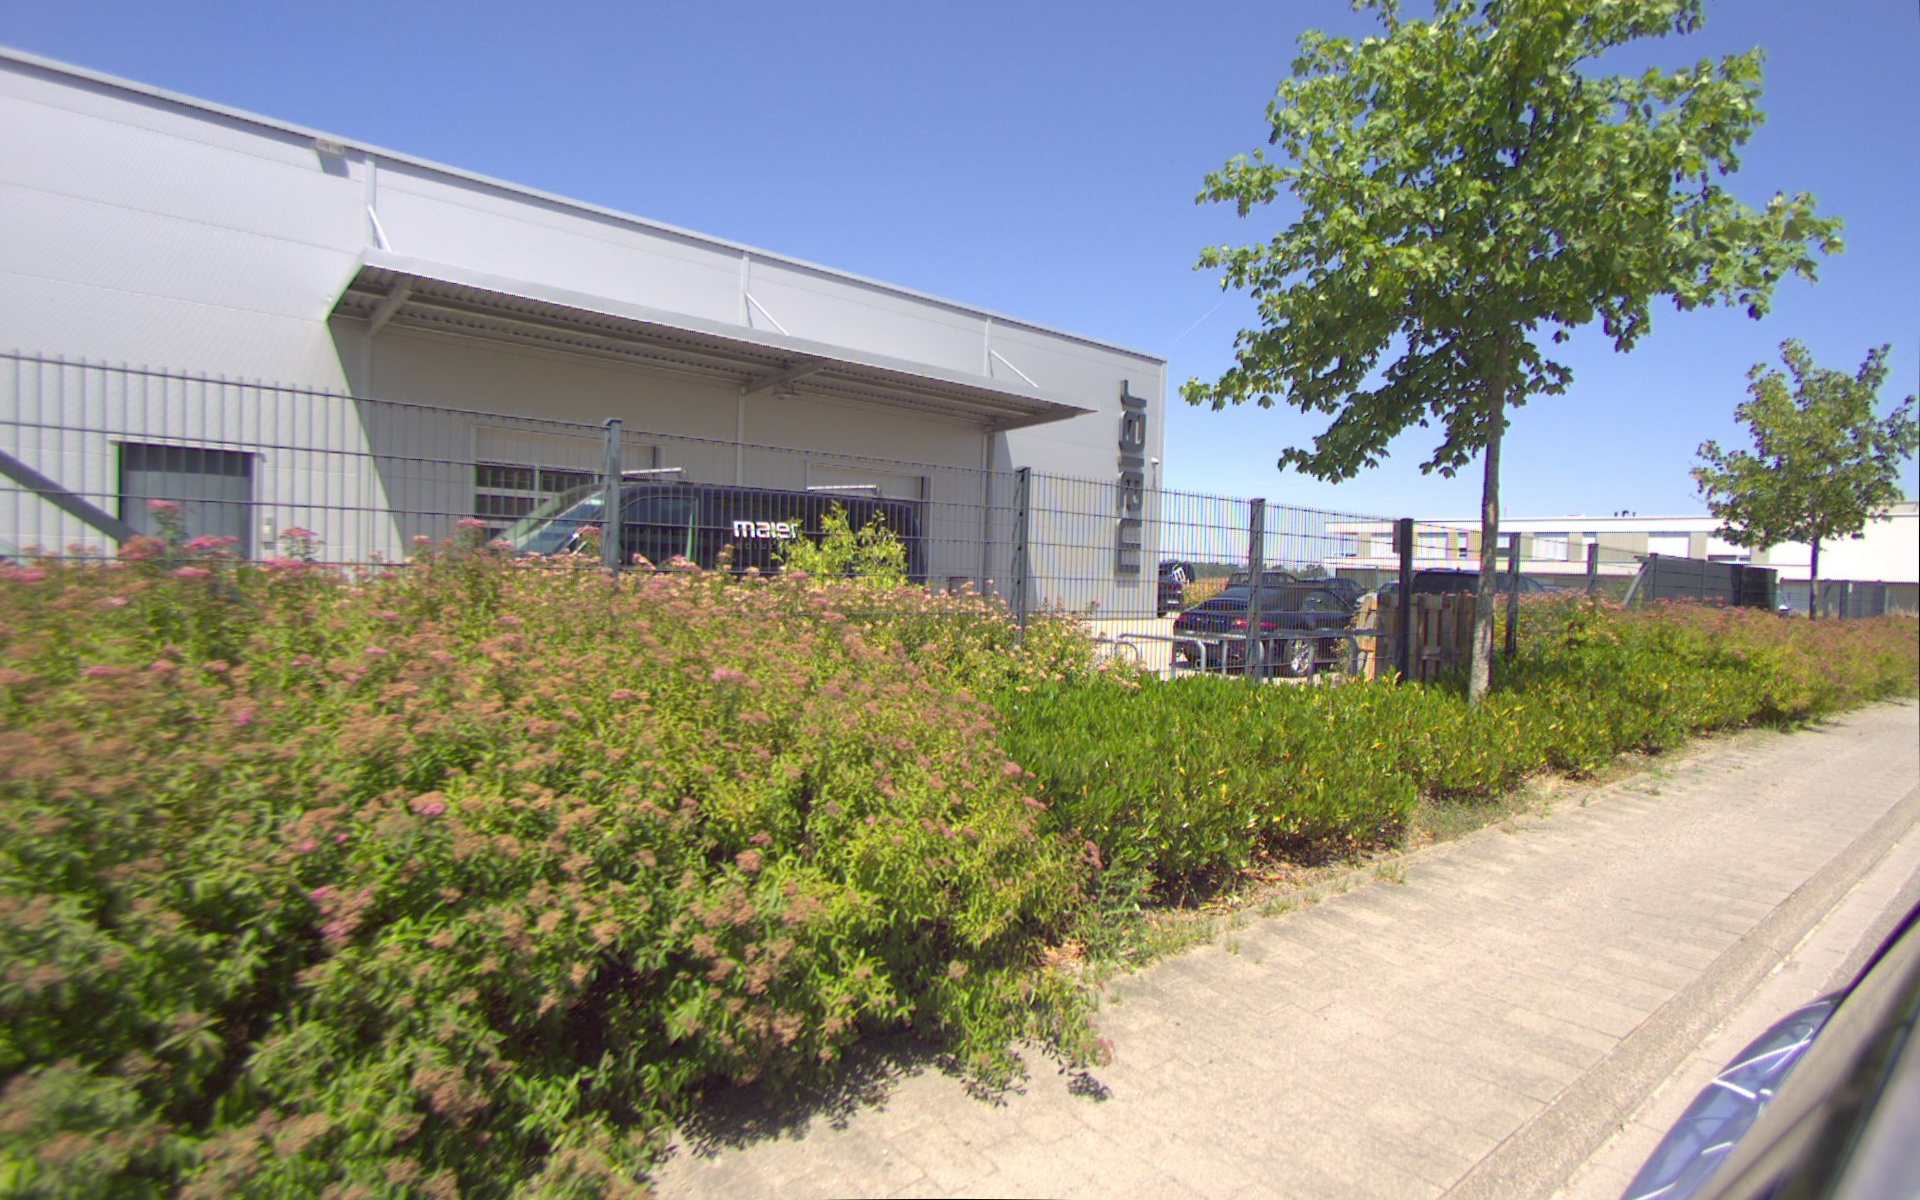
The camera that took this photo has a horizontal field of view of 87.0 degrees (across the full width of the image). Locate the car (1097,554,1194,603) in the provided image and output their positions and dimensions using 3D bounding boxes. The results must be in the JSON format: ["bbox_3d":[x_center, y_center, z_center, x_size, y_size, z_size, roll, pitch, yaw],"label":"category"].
[{"bbox_3d":[7.684,-0.874,41.731,4.055,1.869,1.752,0,3,-42],"label":"car"}]

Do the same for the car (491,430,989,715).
[{"bbox_3d":[-1.927,-0.251,9.548,4.151,2.112,1.881,1,3,-40],"label":"car"}]

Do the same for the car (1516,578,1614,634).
[{"bbox_3d":[18.026,0.159,30.104,3.274,1.514,1.517,0,3,-42],"label":"car"}]

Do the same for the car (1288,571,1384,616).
[{"bbox_3d":[13.203,-0.228,35.467,3.718,1.448,1.517,0,3,-42],"label":"car"}]

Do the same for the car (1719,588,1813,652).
[{"bbox_3d":[21.951,0.505,27.558,2.615,1.593,1.470,0,3,-40],"label":"car"}]

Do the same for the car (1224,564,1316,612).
[{"bbox_3d":[11.519,-0.432,37.525,3.718,1.653,1.517,0,3,-42],"label":"car"}]

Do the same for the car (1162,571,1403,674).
[{"bbox_3d":[4.885,0.278,15.114,3.811,1.288,1.622,0,3,-40],"label":"car"}]

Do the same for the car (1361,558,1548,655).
[{"bbox_3d":[9.298,0.134,18.950,3.513,1.571,1.814,2,2,-40],"label":"car"}]

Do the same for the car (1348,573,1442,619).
[{"bbox_3d":[14.573,-0.151,33.823,3.479,1.414,1.517,0,3,-42],"label":"car"}]

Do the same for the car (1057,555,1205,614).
[{"bbox_3d":[4.833,-0.466,29.058,1.675,1.396,3.997,4,1,-40],"label":"car"}]
